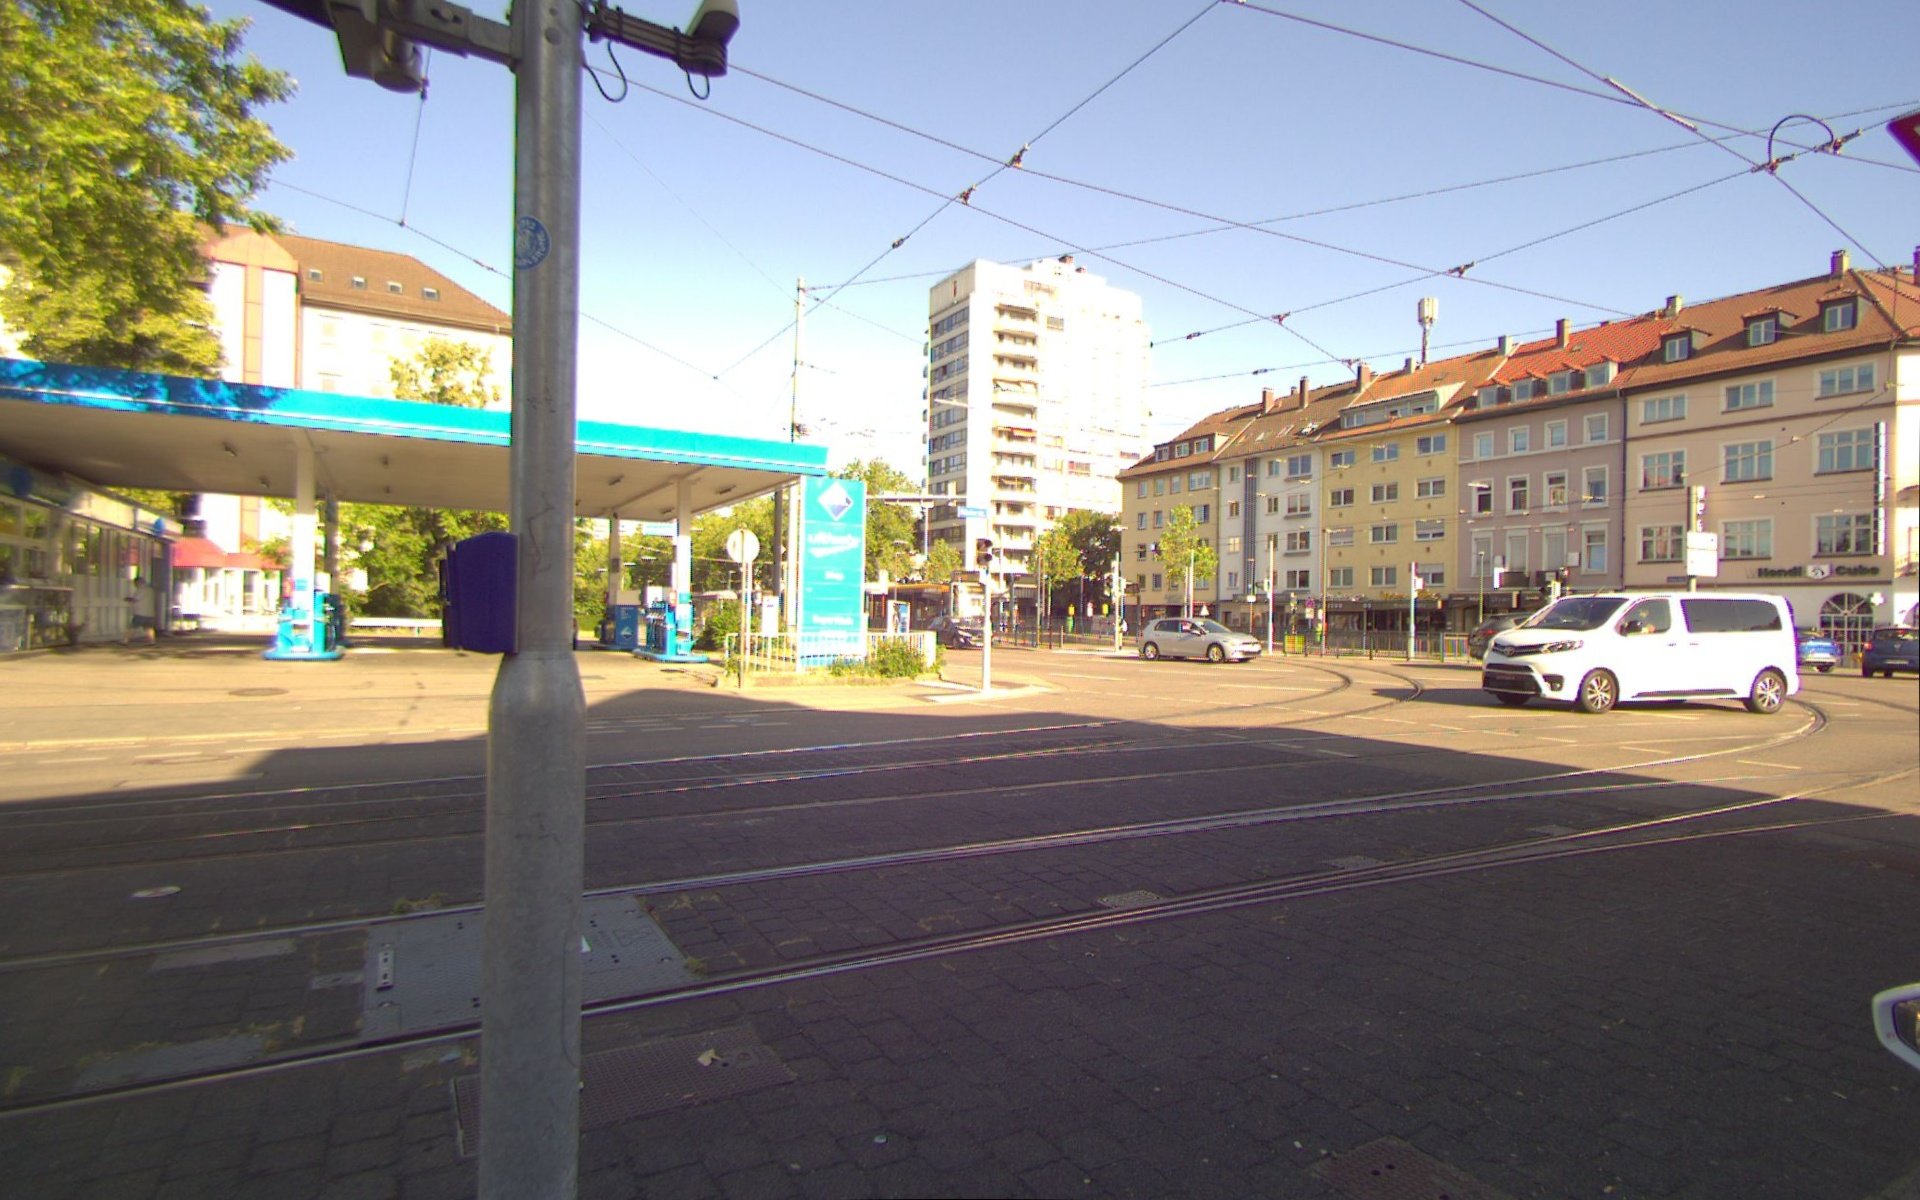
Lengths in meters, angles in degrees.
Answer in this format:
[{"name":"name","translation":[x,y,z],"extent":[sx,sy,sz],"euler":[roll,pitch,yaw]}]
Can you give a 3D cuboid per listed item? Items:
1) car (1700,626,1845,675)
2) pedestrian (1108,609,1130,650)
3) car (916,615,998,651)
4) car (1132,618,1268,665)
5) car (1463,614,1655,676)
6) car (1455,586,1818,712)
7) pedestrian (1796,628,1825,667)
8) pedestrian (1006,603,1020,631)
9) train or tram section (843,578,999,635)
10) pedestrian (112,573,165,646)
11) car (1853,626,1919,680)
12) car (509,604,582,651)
[{"name":"car","translation":[29.425,1.779,36.546],"extent":[1.795,1.596,4.198],"euler":[1,0,-1]},{"name":"pedestrian","translation":[6.462,1.193,40.846],"extent":[0.750,1.631,0.613],"euler":[2,0,15]},{"name":"car","translation":[-0.183,1.477,45.640],"extent":[1.976,1.537,4.177],"euler":[1,-1,-29]},{"name":"car","translation":[7.876,1.335,33.222],"extent":[1.721,1.408,4.178],"euler":[1,-1,-41]},{"name":"car","translation":[16.712,1.240,28.303],"extent":[4.367,1.623,1.874],"euler":[0,-1,20]},{"name":"car","translation":[11.019,0.774,16.461],"extent":[5.127,1.879,1.995],"euler":[1,0,-13]},{"name":"pedestrian","translation":[35.487,1.975,41.911],"extent":[0.805,1.615,0.665],"euler":[2,0,-30]},{"name":"pedestrian","translation":[4.049,1.279,77.326],"extent":[0.729,2.127,0.880],"euler":[2,0,-21]},{"name":"train or tram section","translation":[-3.014,0.290,64.694],"extent":[2.821,3.179,16.611],"euler":[2,0,-29]},{"name":"pedestrian","translation":[-19.624,0.244,24.004],"extent":[0.838,1.724,0.644],"euler":[2,-3,-31]},{"name":"car","translation":[28.406,1.553,30.190],"extent":[3.887,1.523,1.770],"euler":[1,-1,-40]},{"name":"car","translation":[-13.518,0.864,32.646],"extent":[1.659,1.372,3.559],"euler":[2,0,-31]}]
